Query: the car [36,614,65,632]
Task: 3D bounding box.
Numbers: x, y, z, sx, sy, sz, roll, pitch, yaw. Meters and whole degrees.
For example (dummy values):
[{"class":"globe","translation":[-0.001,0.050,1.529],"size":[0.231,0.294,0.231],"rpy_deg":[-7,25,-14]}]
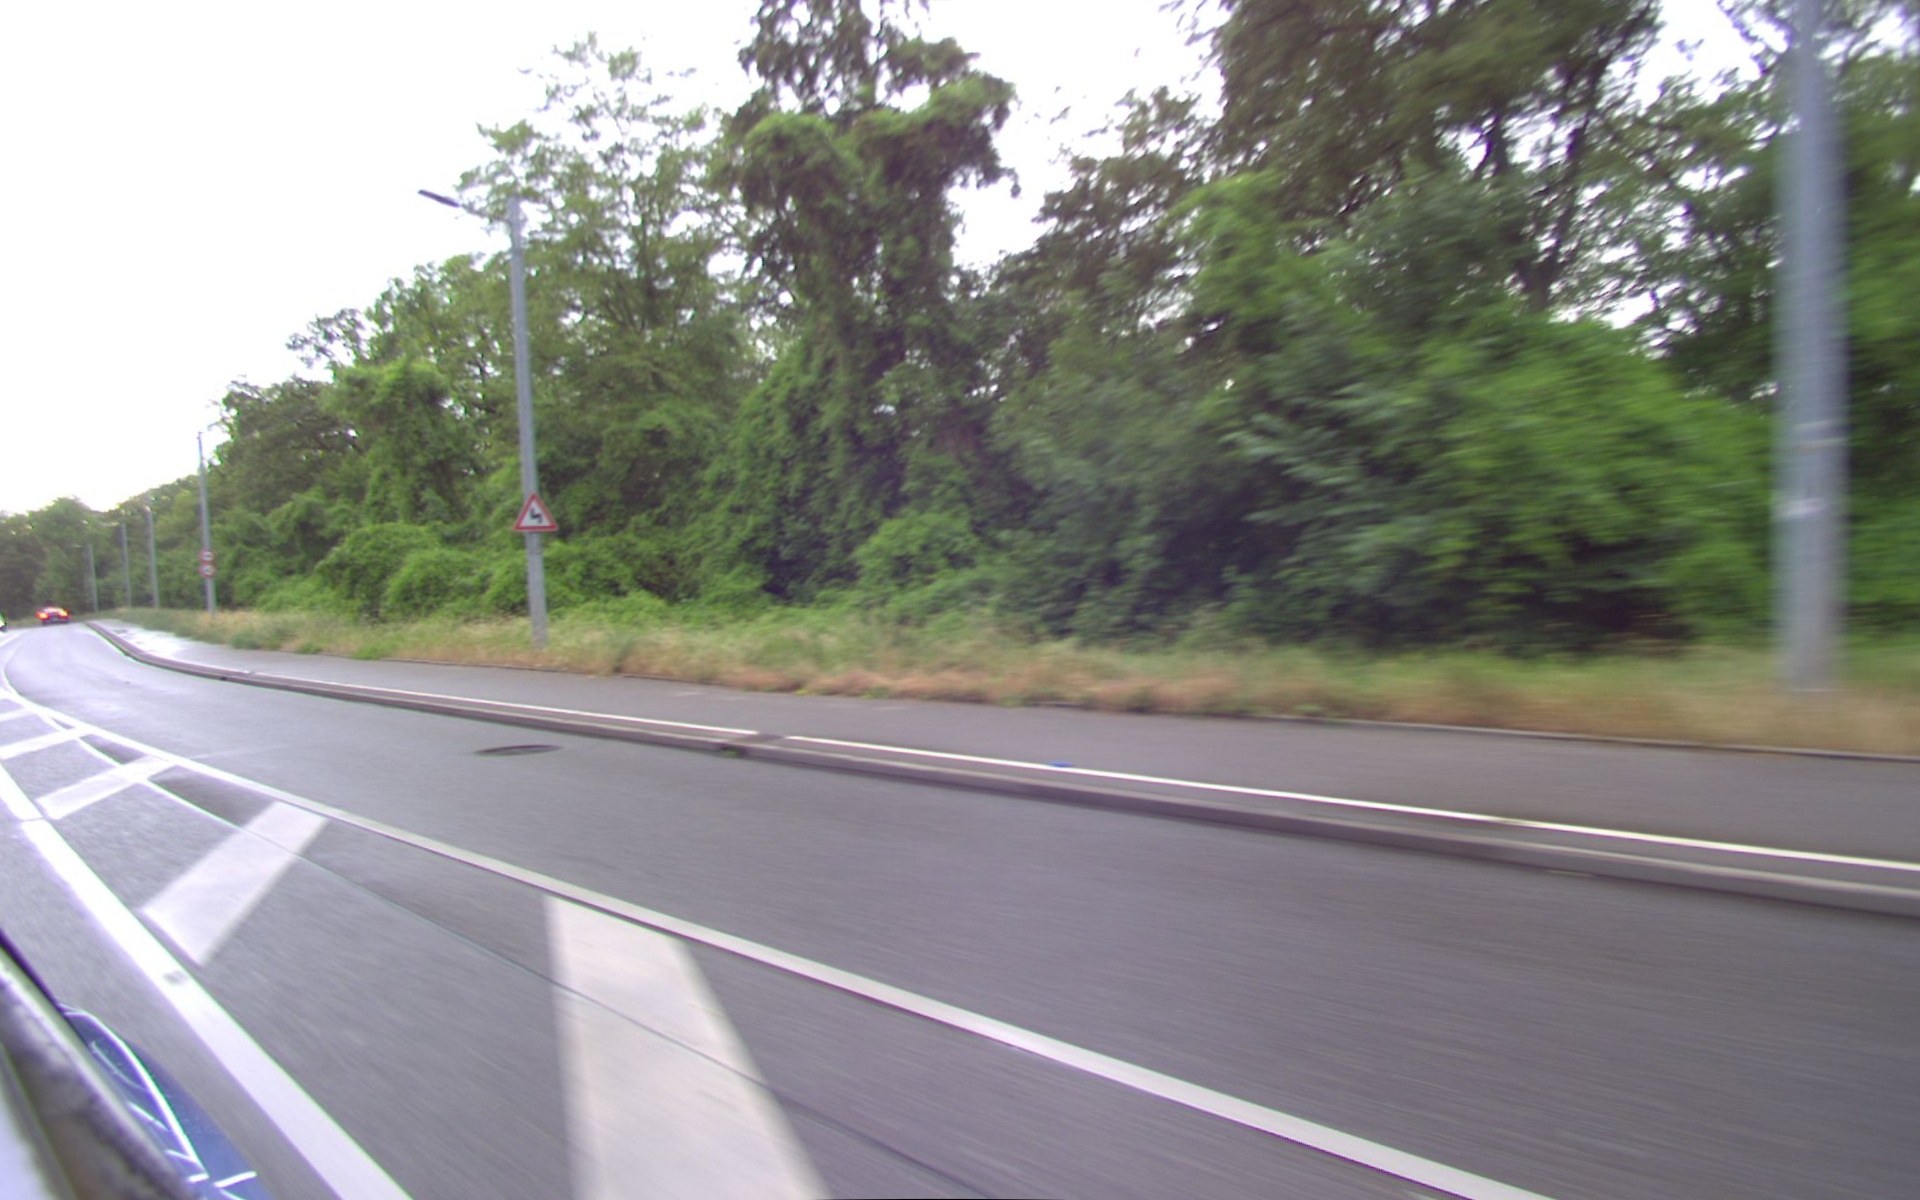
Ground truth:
[{"class":"car","translation":[-89.858,2.237,100.001],"size":[1.969,1.696,4.006],"rpy_deg":[-1,0,-41]}]
